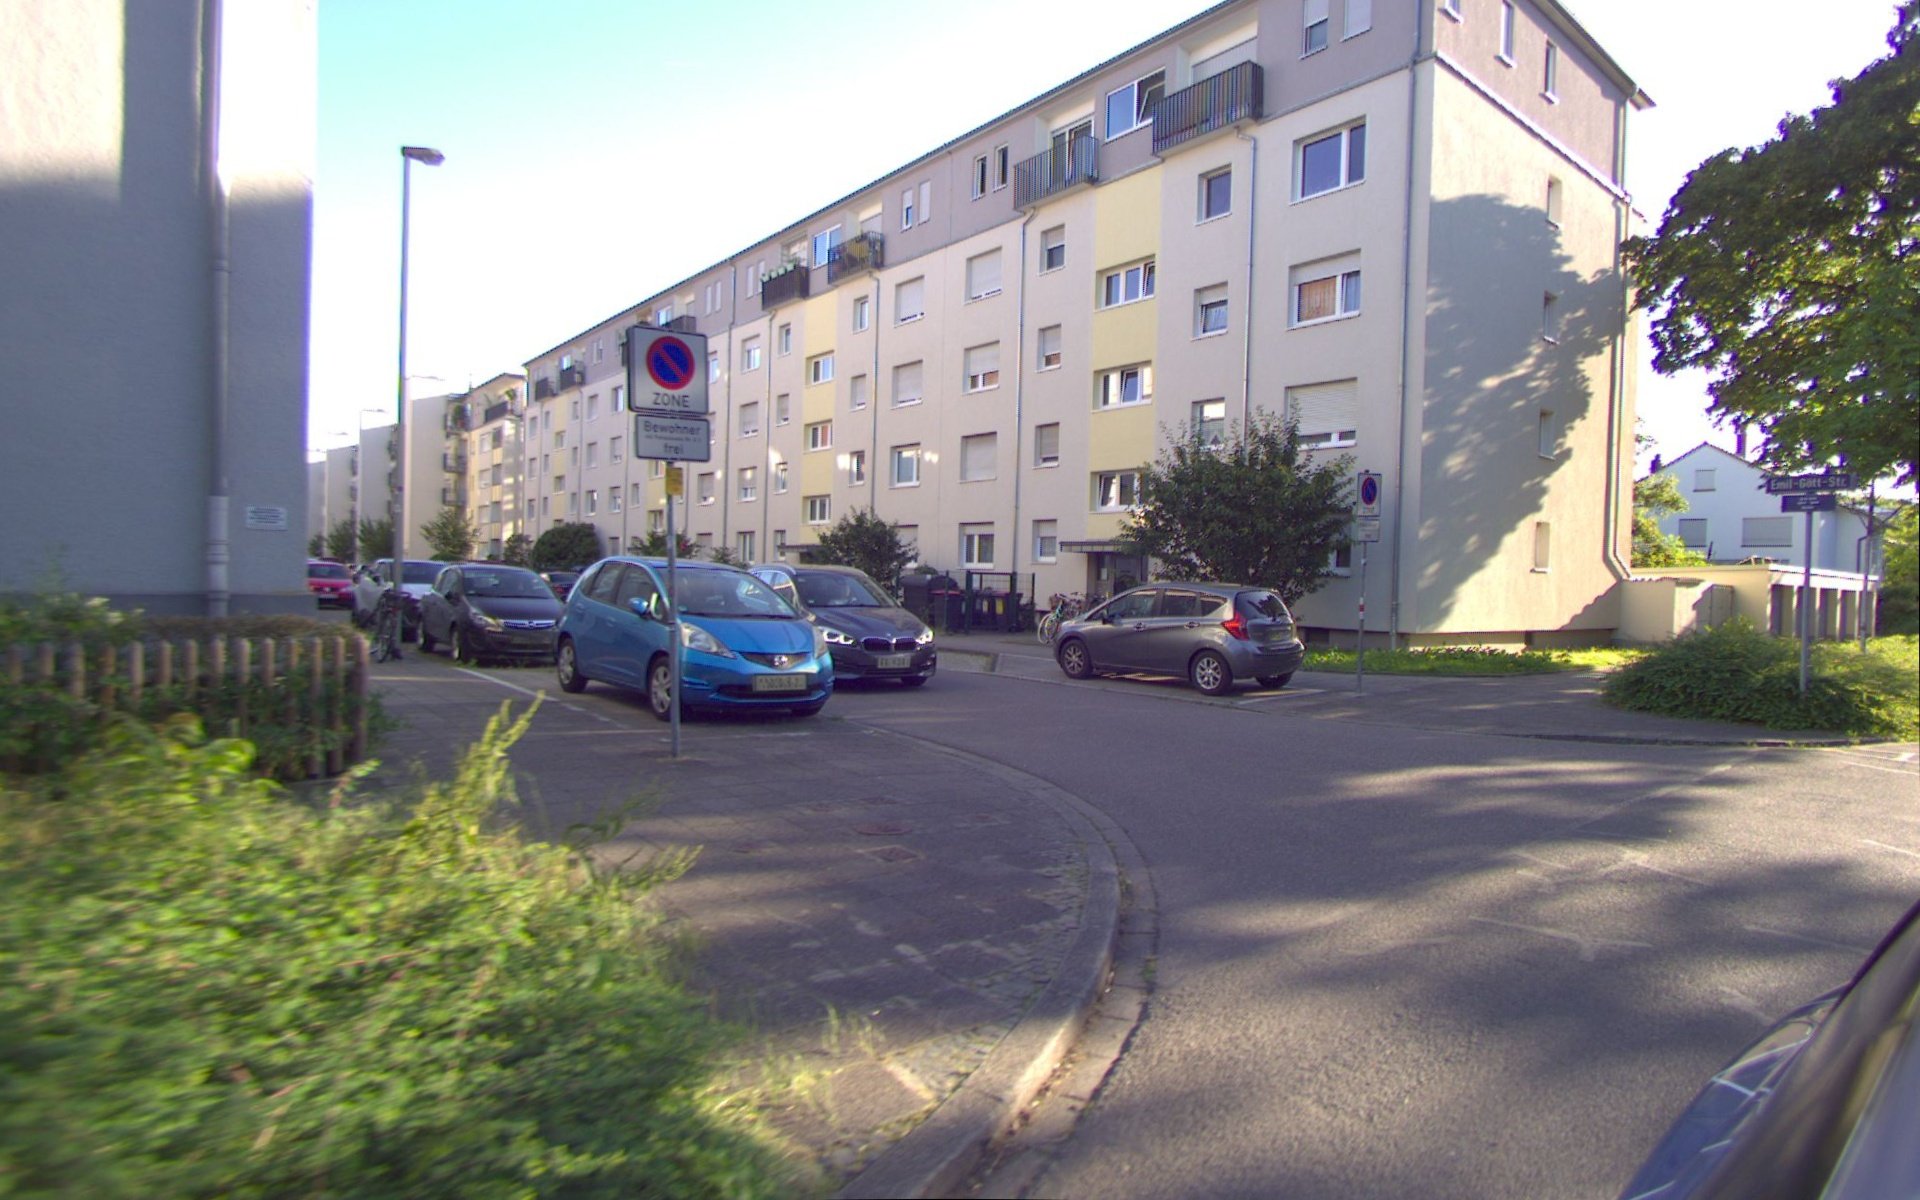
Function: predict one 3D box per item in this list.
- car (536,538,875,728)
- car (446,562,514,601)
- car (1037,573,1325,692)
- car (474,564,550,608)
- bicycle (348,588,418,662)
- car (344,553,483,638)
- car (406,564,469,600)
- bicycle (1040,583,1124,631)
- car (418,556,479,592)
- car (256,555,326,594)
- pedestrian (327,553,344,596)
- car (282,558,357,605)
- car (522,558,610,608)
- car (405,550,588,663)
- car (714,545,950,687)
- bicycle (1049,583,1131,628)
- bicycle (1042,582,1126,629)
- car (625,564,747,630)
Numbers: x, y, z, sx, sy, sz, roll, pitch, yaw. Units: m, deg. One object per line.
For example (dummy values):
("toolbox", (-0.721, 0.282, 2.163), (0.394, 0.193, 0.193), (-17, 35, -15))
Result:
("car", (-2.827, 0.224, 10.650), (1.778, 1.601, 3.994), (2, 1, -42))
("car", (-22.411, -0.875, 47.195), (1.865, 1.687, 3.772), (2, 1, -41))
("car", (3.177, 0.360, 15.187), (1.697, 1.533, 4.048), (-1, 2, -40))
("car", (-19.016, -0.622, 42.881), (1.865, 1.687, 3.772), (2, 1, -41))
("bicycle", (-8.038, 0.319, 14.070), (0.474, 0.937, 1.967), (2, 0, -40))
("car", (-10.950, -0.105, 20.153), (1.703, 1.516, 4.023), (1, 0, -39))
("car", (-21.902, -0.770, 42.372), (1.718, 1.408, 3.500), (1, 1, -38))
("bicycle", (2.590, 0.132, 21.694), (0.536, 0.971, 1.904), (0, 1, -42))
("car", (-25.997, -1.352, 51.416), (1.865, 1.687, 3.772), (2, 1, -41))
("car", (-25.146, -0.945, 37.986), (1.683, 1.369, 4.016), (1, 1, -41))
("pedestrian", (-29.938, -1.205, 48.488), (0.545, 2.039, 0.809), (1, 0, -40))
("car", (-20.593, -0.593, 32.468), (1.672, 1.422, 3.998), (1, 1, -37))
("car", (-14.687, -0.647, 37.619), (1.865, 1.687, 3.772), (2, 1, -41))
("car", (-7.312, 0.075, 15.781), (1.618, 1.517, 3.833), (4, -1, -39))
("car", (-1.973, 0.181, 14.354), (1.734, 1.695, 4.282), (0, 0, -31))
("bicycle", (2.950, 0.110, 23.082), (0.536, 0.971, 1.972), (0, 1, -42))
("bicycle", (2.720, 0.113, 22.433), (0.536, 0.971, 1.972), (0, 1, -42))
("car", (-7.761, -0.127, 28.491), (1.866, 1.687, 3.772), (0, 2, -41))
